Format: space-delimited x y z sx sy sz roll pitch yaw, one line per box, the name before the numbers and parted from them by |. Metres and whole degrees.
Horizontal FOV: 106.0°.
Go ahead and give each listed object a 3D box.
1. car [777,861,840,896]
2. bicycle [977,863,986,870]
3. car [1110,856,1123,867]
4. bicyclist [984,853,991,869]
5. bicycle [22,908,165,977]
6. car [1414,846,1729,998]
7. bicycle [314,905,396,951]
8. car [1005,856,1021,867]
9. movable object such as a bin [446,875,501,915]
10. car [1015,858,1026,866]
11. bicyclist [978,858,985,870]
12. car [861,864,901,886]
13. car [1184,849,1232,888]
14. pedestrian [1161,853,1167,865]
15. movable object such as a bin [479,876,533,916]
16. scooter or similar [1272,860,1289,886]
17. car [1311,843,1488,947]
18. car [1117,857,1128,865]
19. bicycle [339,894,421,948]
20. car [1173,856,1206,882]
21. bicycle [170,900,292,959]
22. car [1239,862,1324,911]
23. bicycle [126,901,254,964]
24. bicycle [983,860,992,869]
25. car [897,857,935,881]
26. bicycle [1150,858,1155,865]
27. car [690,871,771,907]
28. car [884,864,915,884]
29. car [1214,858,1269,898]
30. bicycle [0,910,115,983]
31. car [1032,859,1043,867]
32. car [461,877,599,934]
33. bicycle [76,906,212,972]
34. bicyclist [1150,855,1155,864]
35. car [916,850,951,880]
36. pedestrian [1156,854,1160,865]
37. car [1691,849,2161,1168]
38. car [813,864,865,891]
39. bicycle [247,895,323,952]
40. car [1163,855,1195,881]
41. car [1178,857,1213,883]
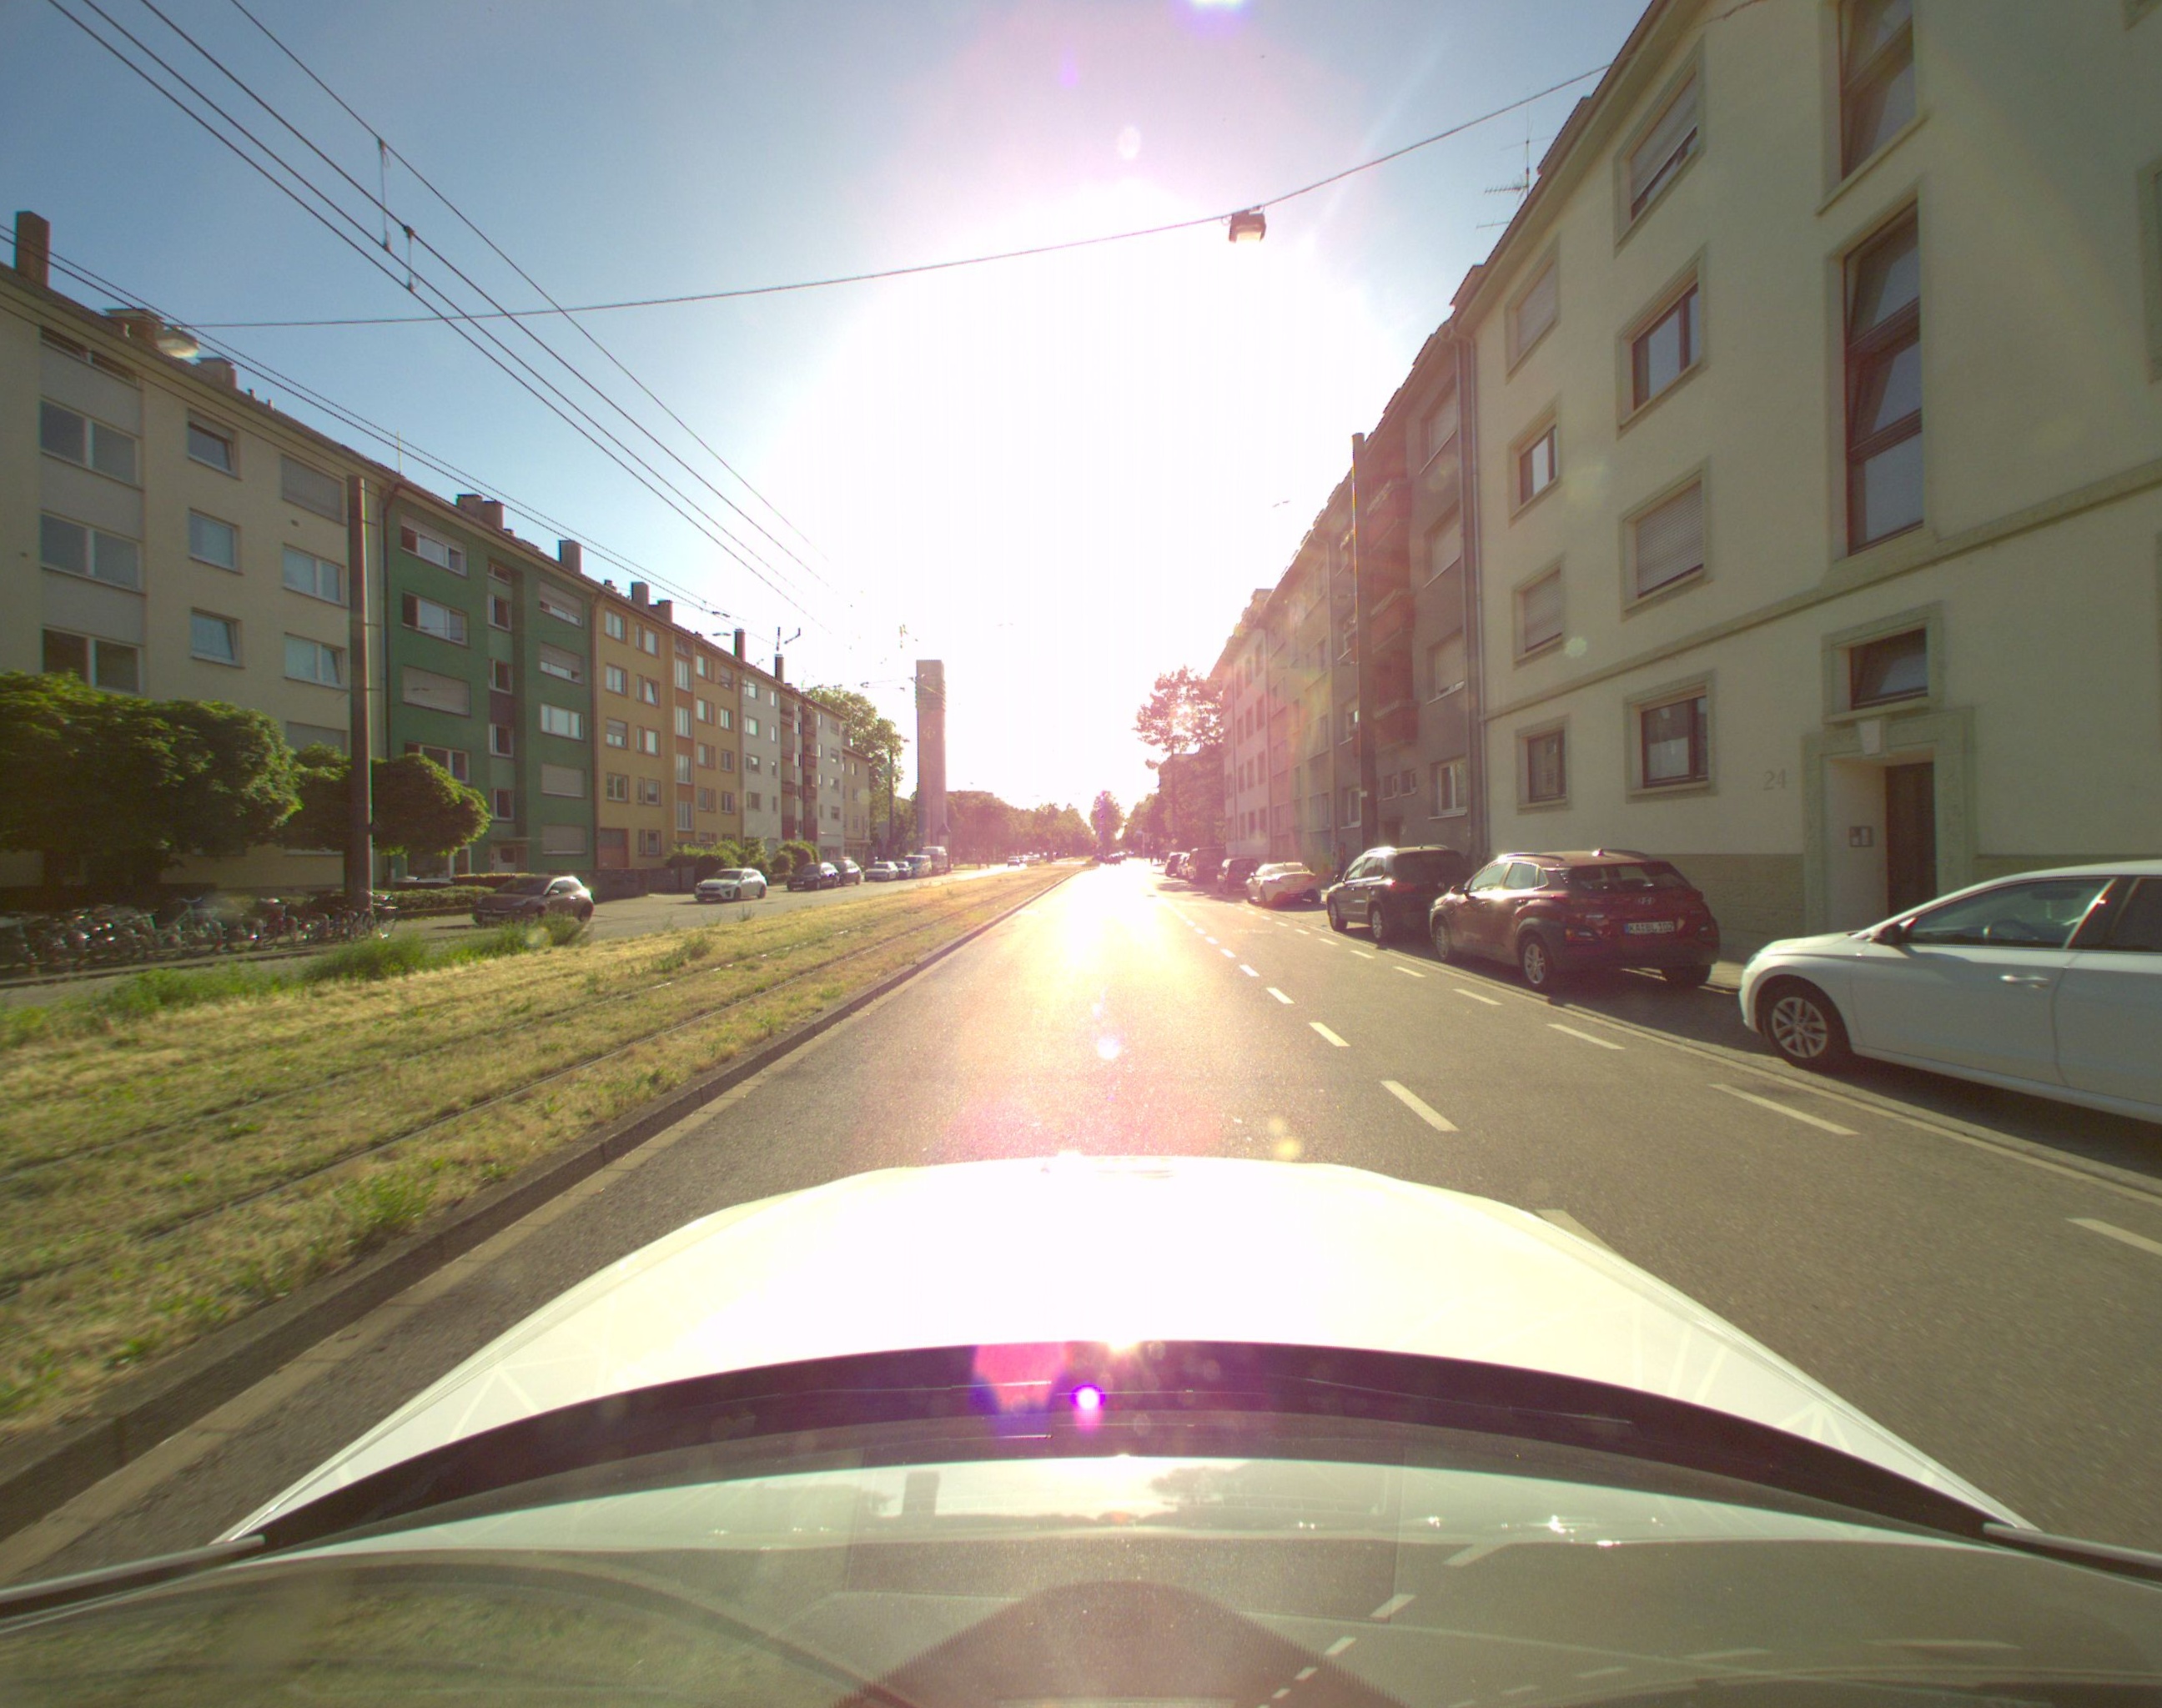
car | -15.960 1.393 48.000 1.986 1.838 4.611 1 0 2
bicycle | -12.387 1.564 101.054 0.765 0.879 2.070 -3 0 2
car | 5.092 1.018 116.879 1.689 1.508 3.698 1 0 0
bicyclist | -12.200 0.940 106.410 0.770 2.013 0.648 2 0 2
bicycle | -17.730 1.571 14.632 2.037 1.092 0.617 2 0 7
car | 5.892 0.693 10.457 1.629 1.517 4.191 -2 0 2
bicycle | -16.924 1.702 19.034 0.376 0.866 2.048 2 0 -10
car | -9.616 0.996 115.293 1.687 1.448 4.220 -2 0 3
movable object such as a bin | -22.040 1.460 29.571 1.142 1.368 1.040 2 0 4
car | -12.275 1.614 165.791 1.800 1.533 4.363 -1 0 2
bicyclist | -12.385 1.220 101.022 0.770 1.384 0.648 -1 0 2
car | -15.323 1.609 62.753 1.886 1.491 4.702 1 0 0
car | 7.035 0.765 45.582 1.906 1.899 5.137 -4 0 1
pedestrian | 11.986 0.714 117.963 0.699 1.789 0.695 -3 1 7
movable object such as a bin | -20.774 1.496 29.460 1.142 1.368 1.040 2 0 4
scooter or similar | 9.921 0.934 40.548 0.457 1.238 1.339 -5 0 2
car | 5.957 0.684 15.836 1.630 1.647 4.373 -3 0 0
car | 8.358 1.353 163.997 1.887 1.611 4.501 2 0 1
bicycle | -16.459 1.550 19.182 0.509 1.092 1.929 2 0 -10
car | 7.299 0.992 55.246 1.589 1.578 3.894 -3 0 -1
bicycle | -17.479 1.538 16.755 2.037 1.092 0.617 2 0 7
car | 6.412 0.986 26.476 1.696 1.275 4.304 -4 0 1
bicycle | -17.586 1.537 16.083 2.037 1.092 0.617 2 0 7
bicycle | -12.238 1.383 106.766 0.765 1.146 2.476 -3 0 2
car | -14.960 1.364 74.240 2.024 2.021 5.374 2 0 3
bicycle | 10.213 1.124 116.440 0.645 0.972 1.806 2 0 5
car | -16.140 1.576 37.731 1.722 1.454 4.378 0 0 2
car | -15.131 1.670 68.189 1.689 1.515 4.325 0 0 -1
car | 6.668 0.977 34.230 1.629 1.454 3.791 -3 0 2
bicycle | -17.823 1.570 13.936 2.037 1.092 0.617 2 0 7
car | -8.894 1.764 166.932 1.681 1.533 4.363 -1 0 2
car | -16.637 1.506 24.805 1.630 1.442 3.733 1 0 0
bicycle | -17.649 1.587 15.350 2.037 1.092 0.617 2 0 7
bicyclist | 10.223 0.820 116.490 0.635 1.323 0.804 2 0 4
car | -14.674 1.084 81.410 2.024 2.868 6.232 0 0 3
pedestrian | 11.169 0.845 118.062 0.526 1.529 0.629 -2 -1 7
car | 5.860 0.723 4.618 1.631 1.458 4.078 -2 0 -2
car | -15.848 1.489 53.583 1.986 1.607 4.153 2 0 2
bicycle | -17.734 1.526 18.131 2.029 1.092 0.619 2 0 28
car | 7.270 1.002 60.770 1.871 1.717 4.937 -4 0 3
car | 7.051 0.947 50.499 1.506 1.478 4.237 -2 0 -1
